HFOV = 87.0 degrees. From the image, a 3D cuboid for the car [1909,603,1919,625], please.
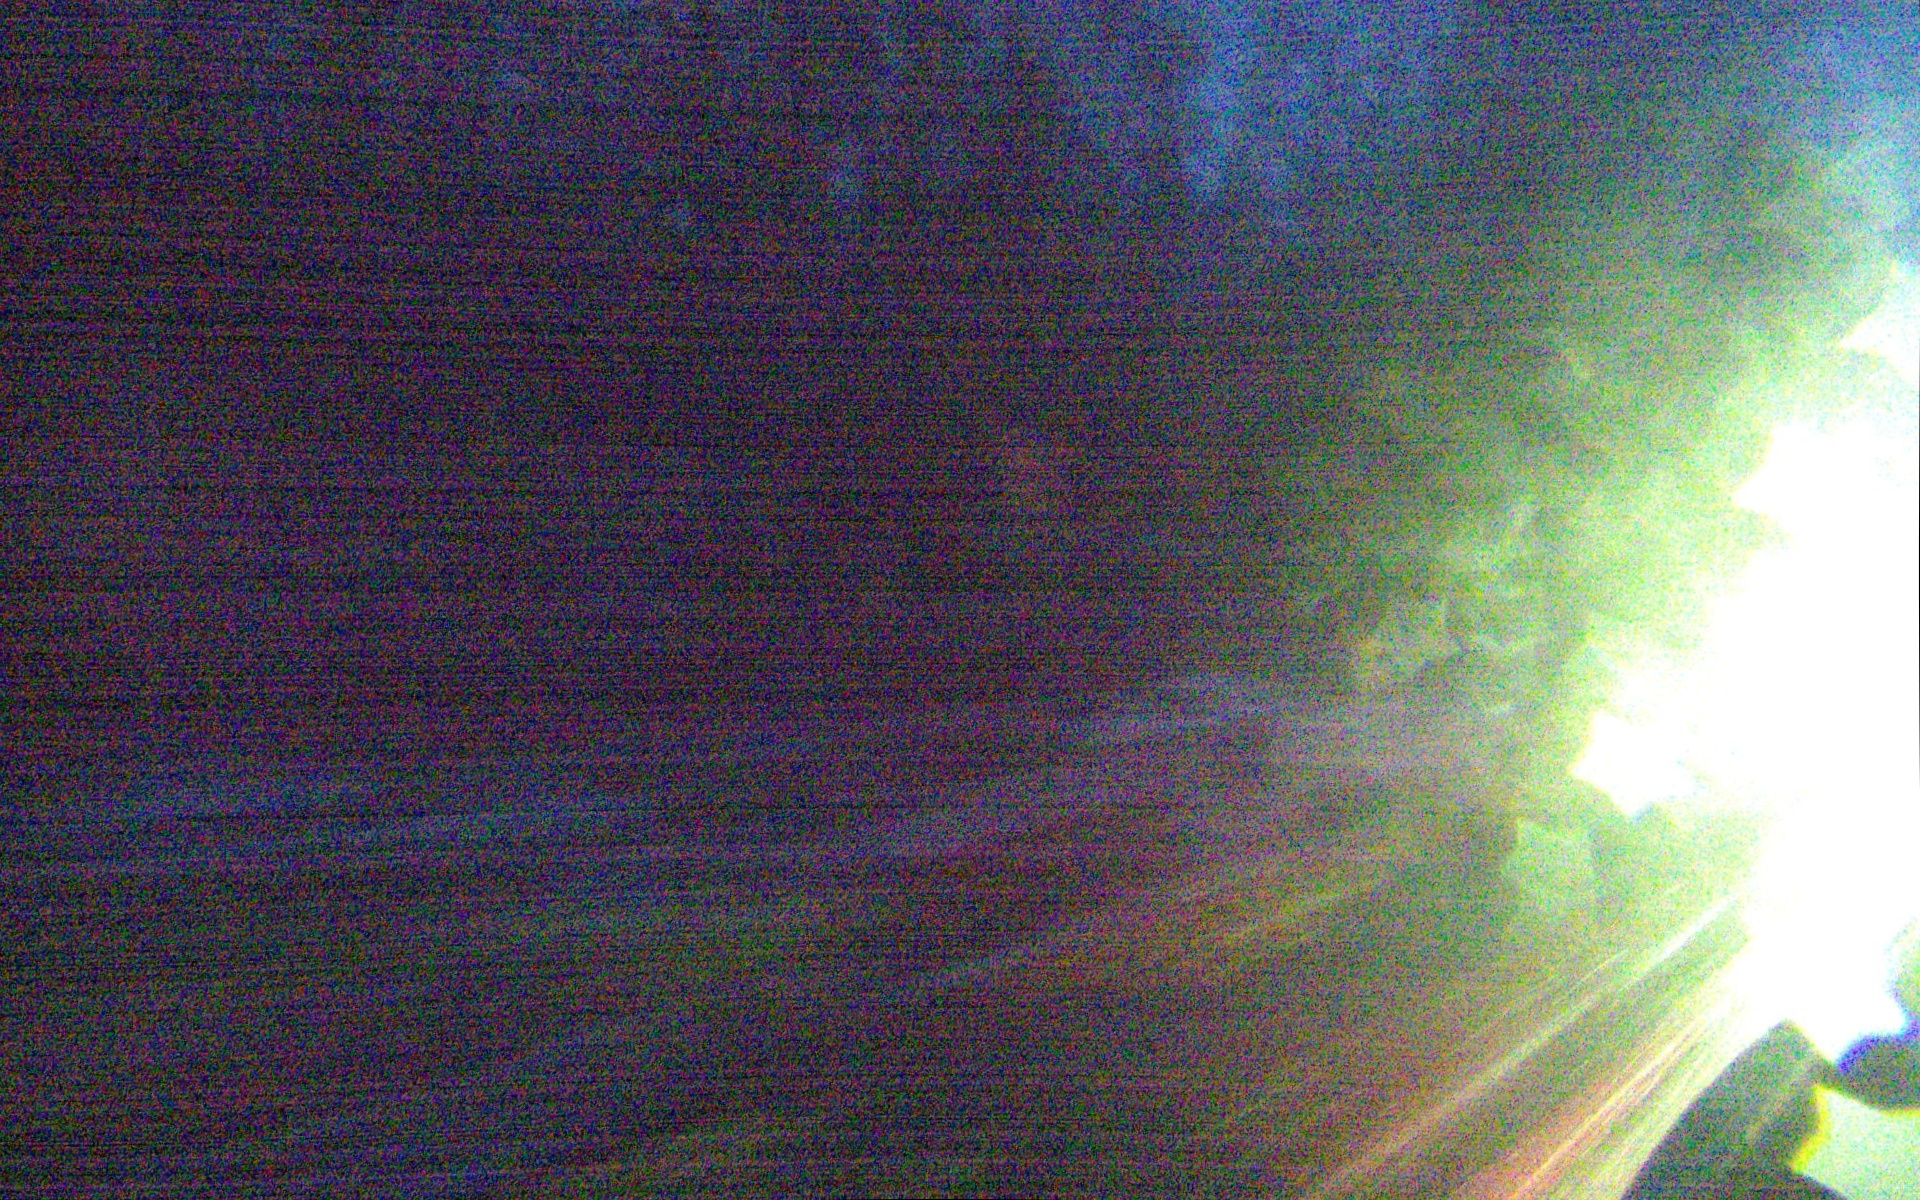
[{"bbox_3d":[79.486,1.209,83.248,1.840,1.742,3.902,1,0,40],"label":"car"}]
